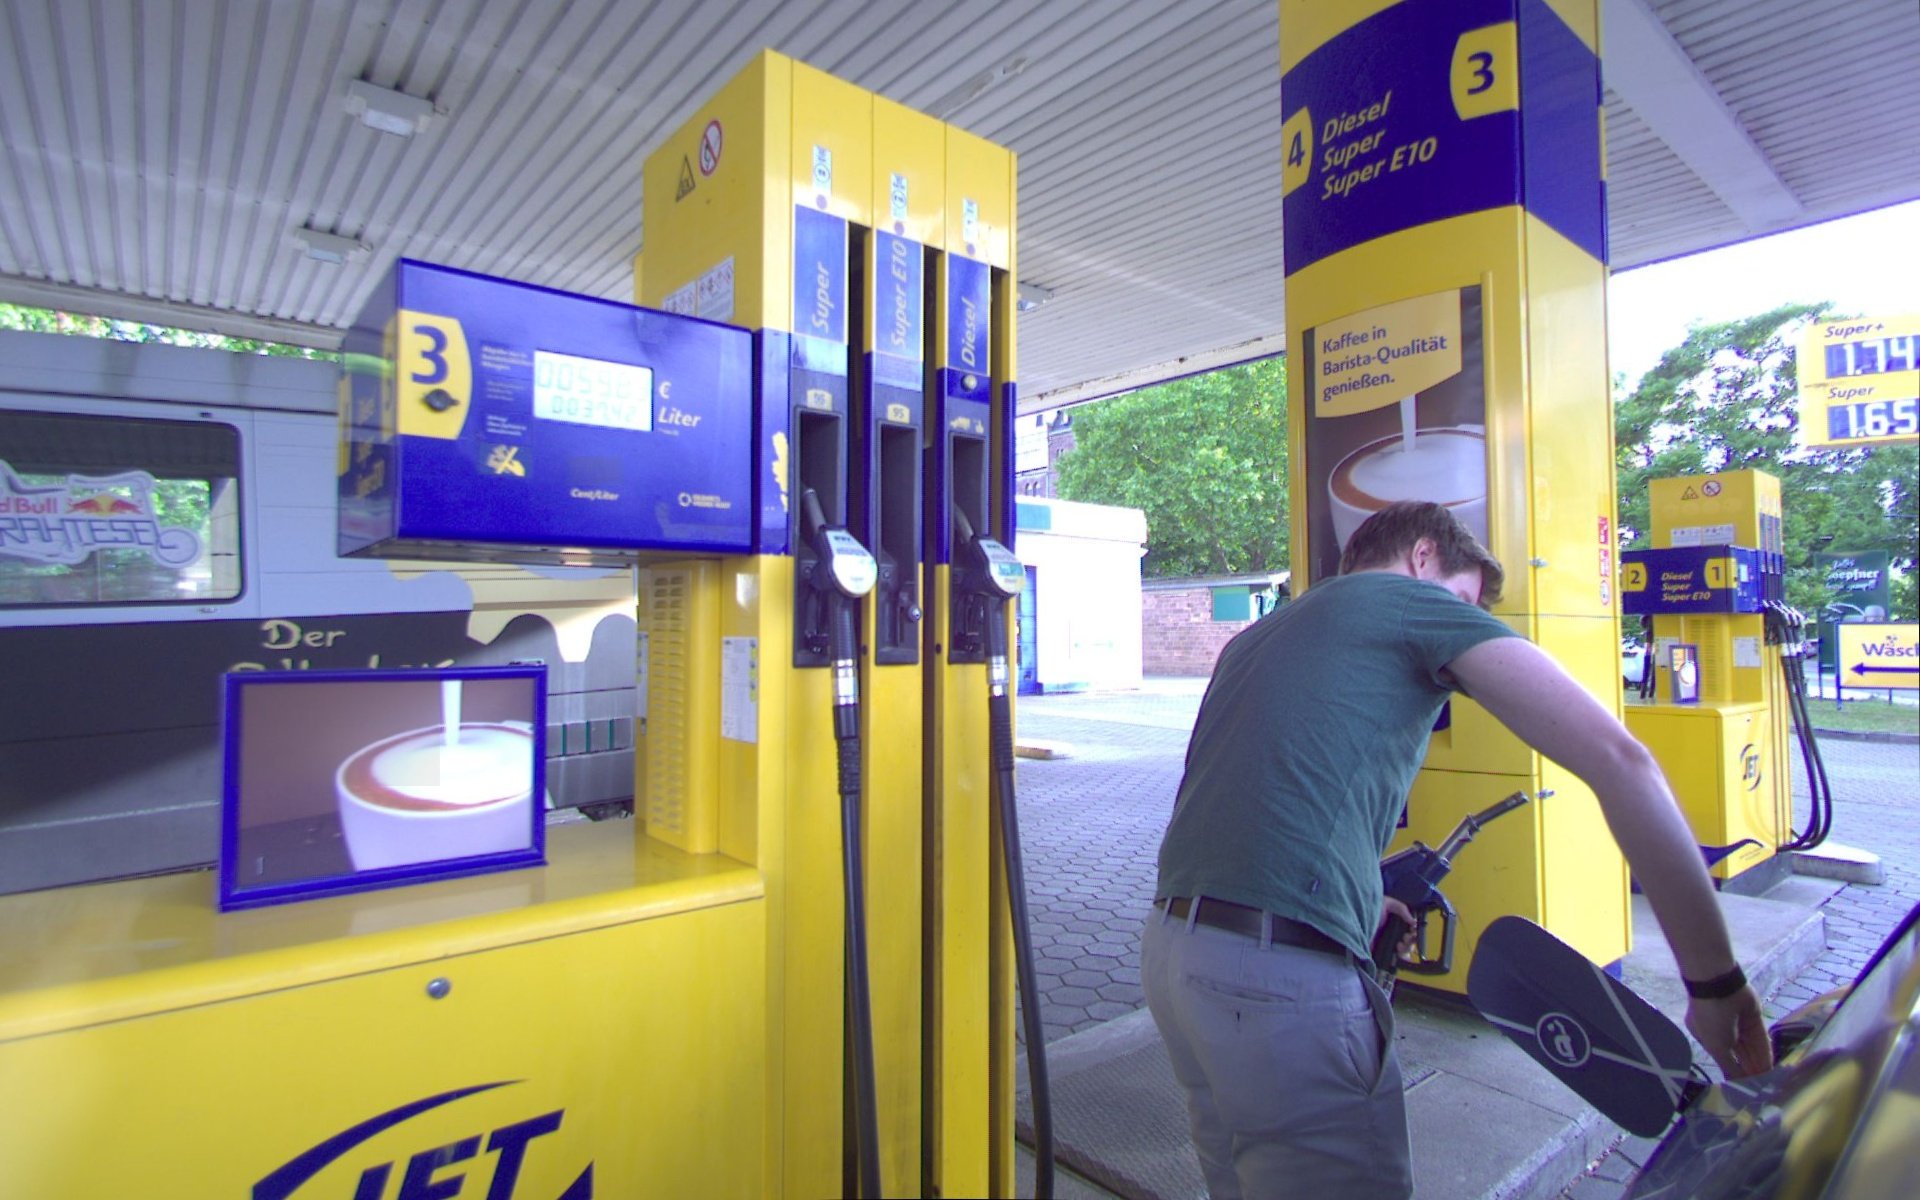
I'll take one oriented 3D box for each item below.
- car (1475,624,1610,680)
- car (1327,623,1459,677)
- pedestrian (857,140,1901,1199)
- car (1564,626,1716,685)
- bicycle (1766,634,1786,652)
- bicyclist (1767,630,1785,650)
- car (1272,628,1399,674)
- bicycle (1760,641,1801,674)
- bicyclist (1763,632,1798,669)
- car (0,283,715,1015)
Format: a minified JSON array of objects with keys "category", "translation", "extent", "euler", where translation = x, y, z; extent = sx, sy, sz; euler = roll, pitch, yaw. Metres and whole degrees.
[{"category":"car","translation":[17.773,1.583,30.850],"extent":[4.112,1.606,1.826],"euler":[2,-3,-31]},{"category":"car","translation":[13.784,1.575,32.168],"extent":[4.112,1.606,1.826],"euler":[2,-3,-31]},{"category":"pedestrian","translation":[0.616,0.513,1.517],"extent":[1.161,1.750,0.993],"euler":[-2,1,-38]},{"category":"car","translation":[18.257,1.490,27.134],"extent":[4.112,1.478,1.826],"euler":[2,-3,-31]},{"category":"bicycle","translation":[62.972,3.310,78.081],"extent":[0.783,1.255,1.866],"euler":[0,0,26]},{"category":"bicyclist","translation":[63.001,3.103,78.145],"extent":[0.783,1.469,1.165],"euler":[0,0,26]},{"category":"car","translation":[12.645,1.706,34.031],"extent":[4.112,1.453,1.826],"euler":[2,-3,-31]},{"category":"bicycle","translation":[33.459,2.343,41.300],"extent":[0.844,1.255,1.866],"euler":[-2,-1,26]},{"category":"bicyclist","translation":[33.432,2.066,41.242],"extent":[0.844,1.441,1.028],"euler":[-2,-1,26]},{"category":"car","translation":[-4.093,0.193,4.853],"extent":[5.248,2.760,2.201],"euler":[0,-1,-39]}]
